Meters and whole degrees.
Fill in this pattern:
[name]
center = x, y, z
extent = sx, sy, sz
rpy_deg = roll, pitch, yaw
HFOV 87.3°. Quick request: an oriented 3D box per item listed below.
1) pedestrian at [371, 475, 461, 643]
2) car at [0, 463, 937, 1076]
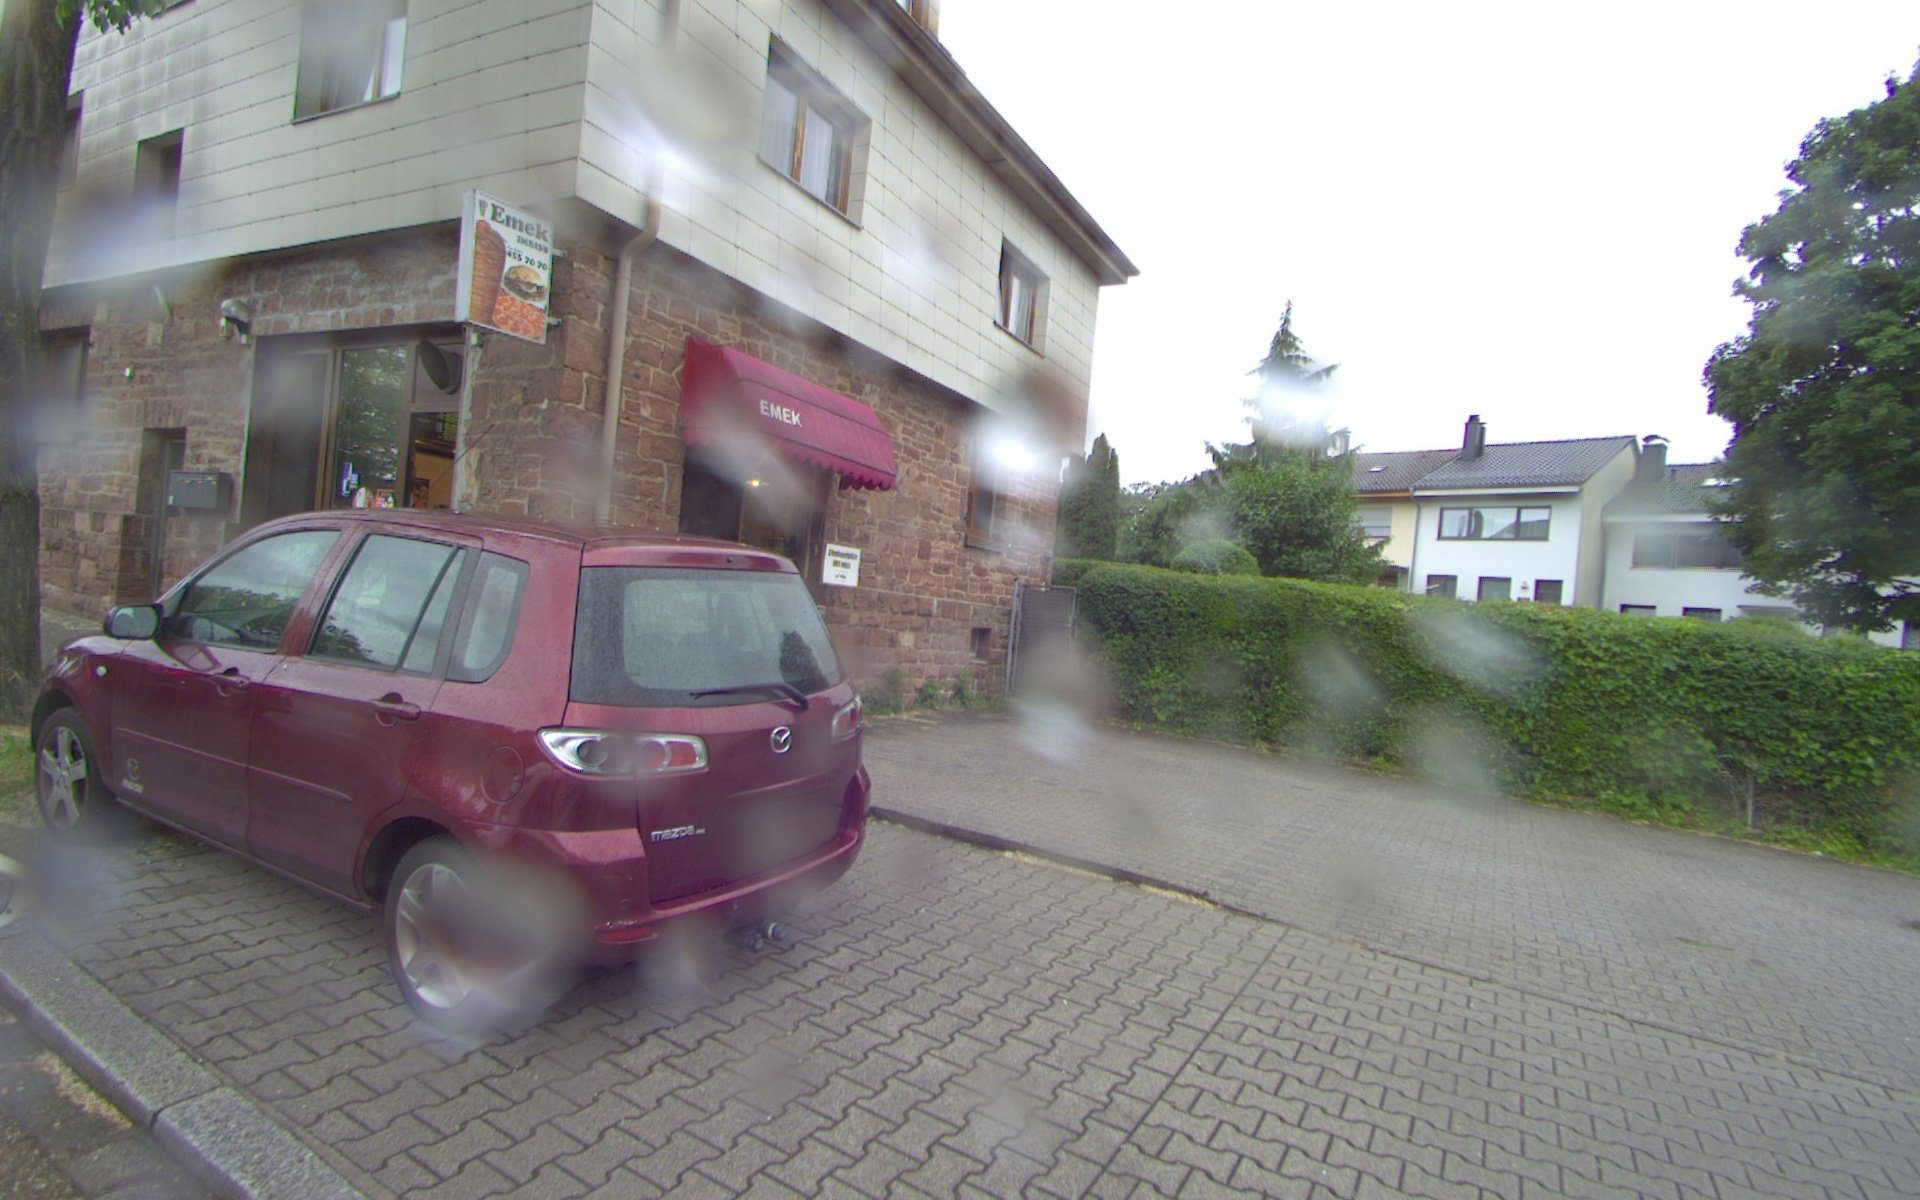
[pedestrian]
center = -5.687, -0.423, 10.524
extent = 0.447, 1.679, 0.493
rpy_deg = 7, -1, 31
[car]
center = -2.152, 0.372, 4.110
extent = 3.692, 1.521, 1.614
rpy_deg = 5, -3, 29
